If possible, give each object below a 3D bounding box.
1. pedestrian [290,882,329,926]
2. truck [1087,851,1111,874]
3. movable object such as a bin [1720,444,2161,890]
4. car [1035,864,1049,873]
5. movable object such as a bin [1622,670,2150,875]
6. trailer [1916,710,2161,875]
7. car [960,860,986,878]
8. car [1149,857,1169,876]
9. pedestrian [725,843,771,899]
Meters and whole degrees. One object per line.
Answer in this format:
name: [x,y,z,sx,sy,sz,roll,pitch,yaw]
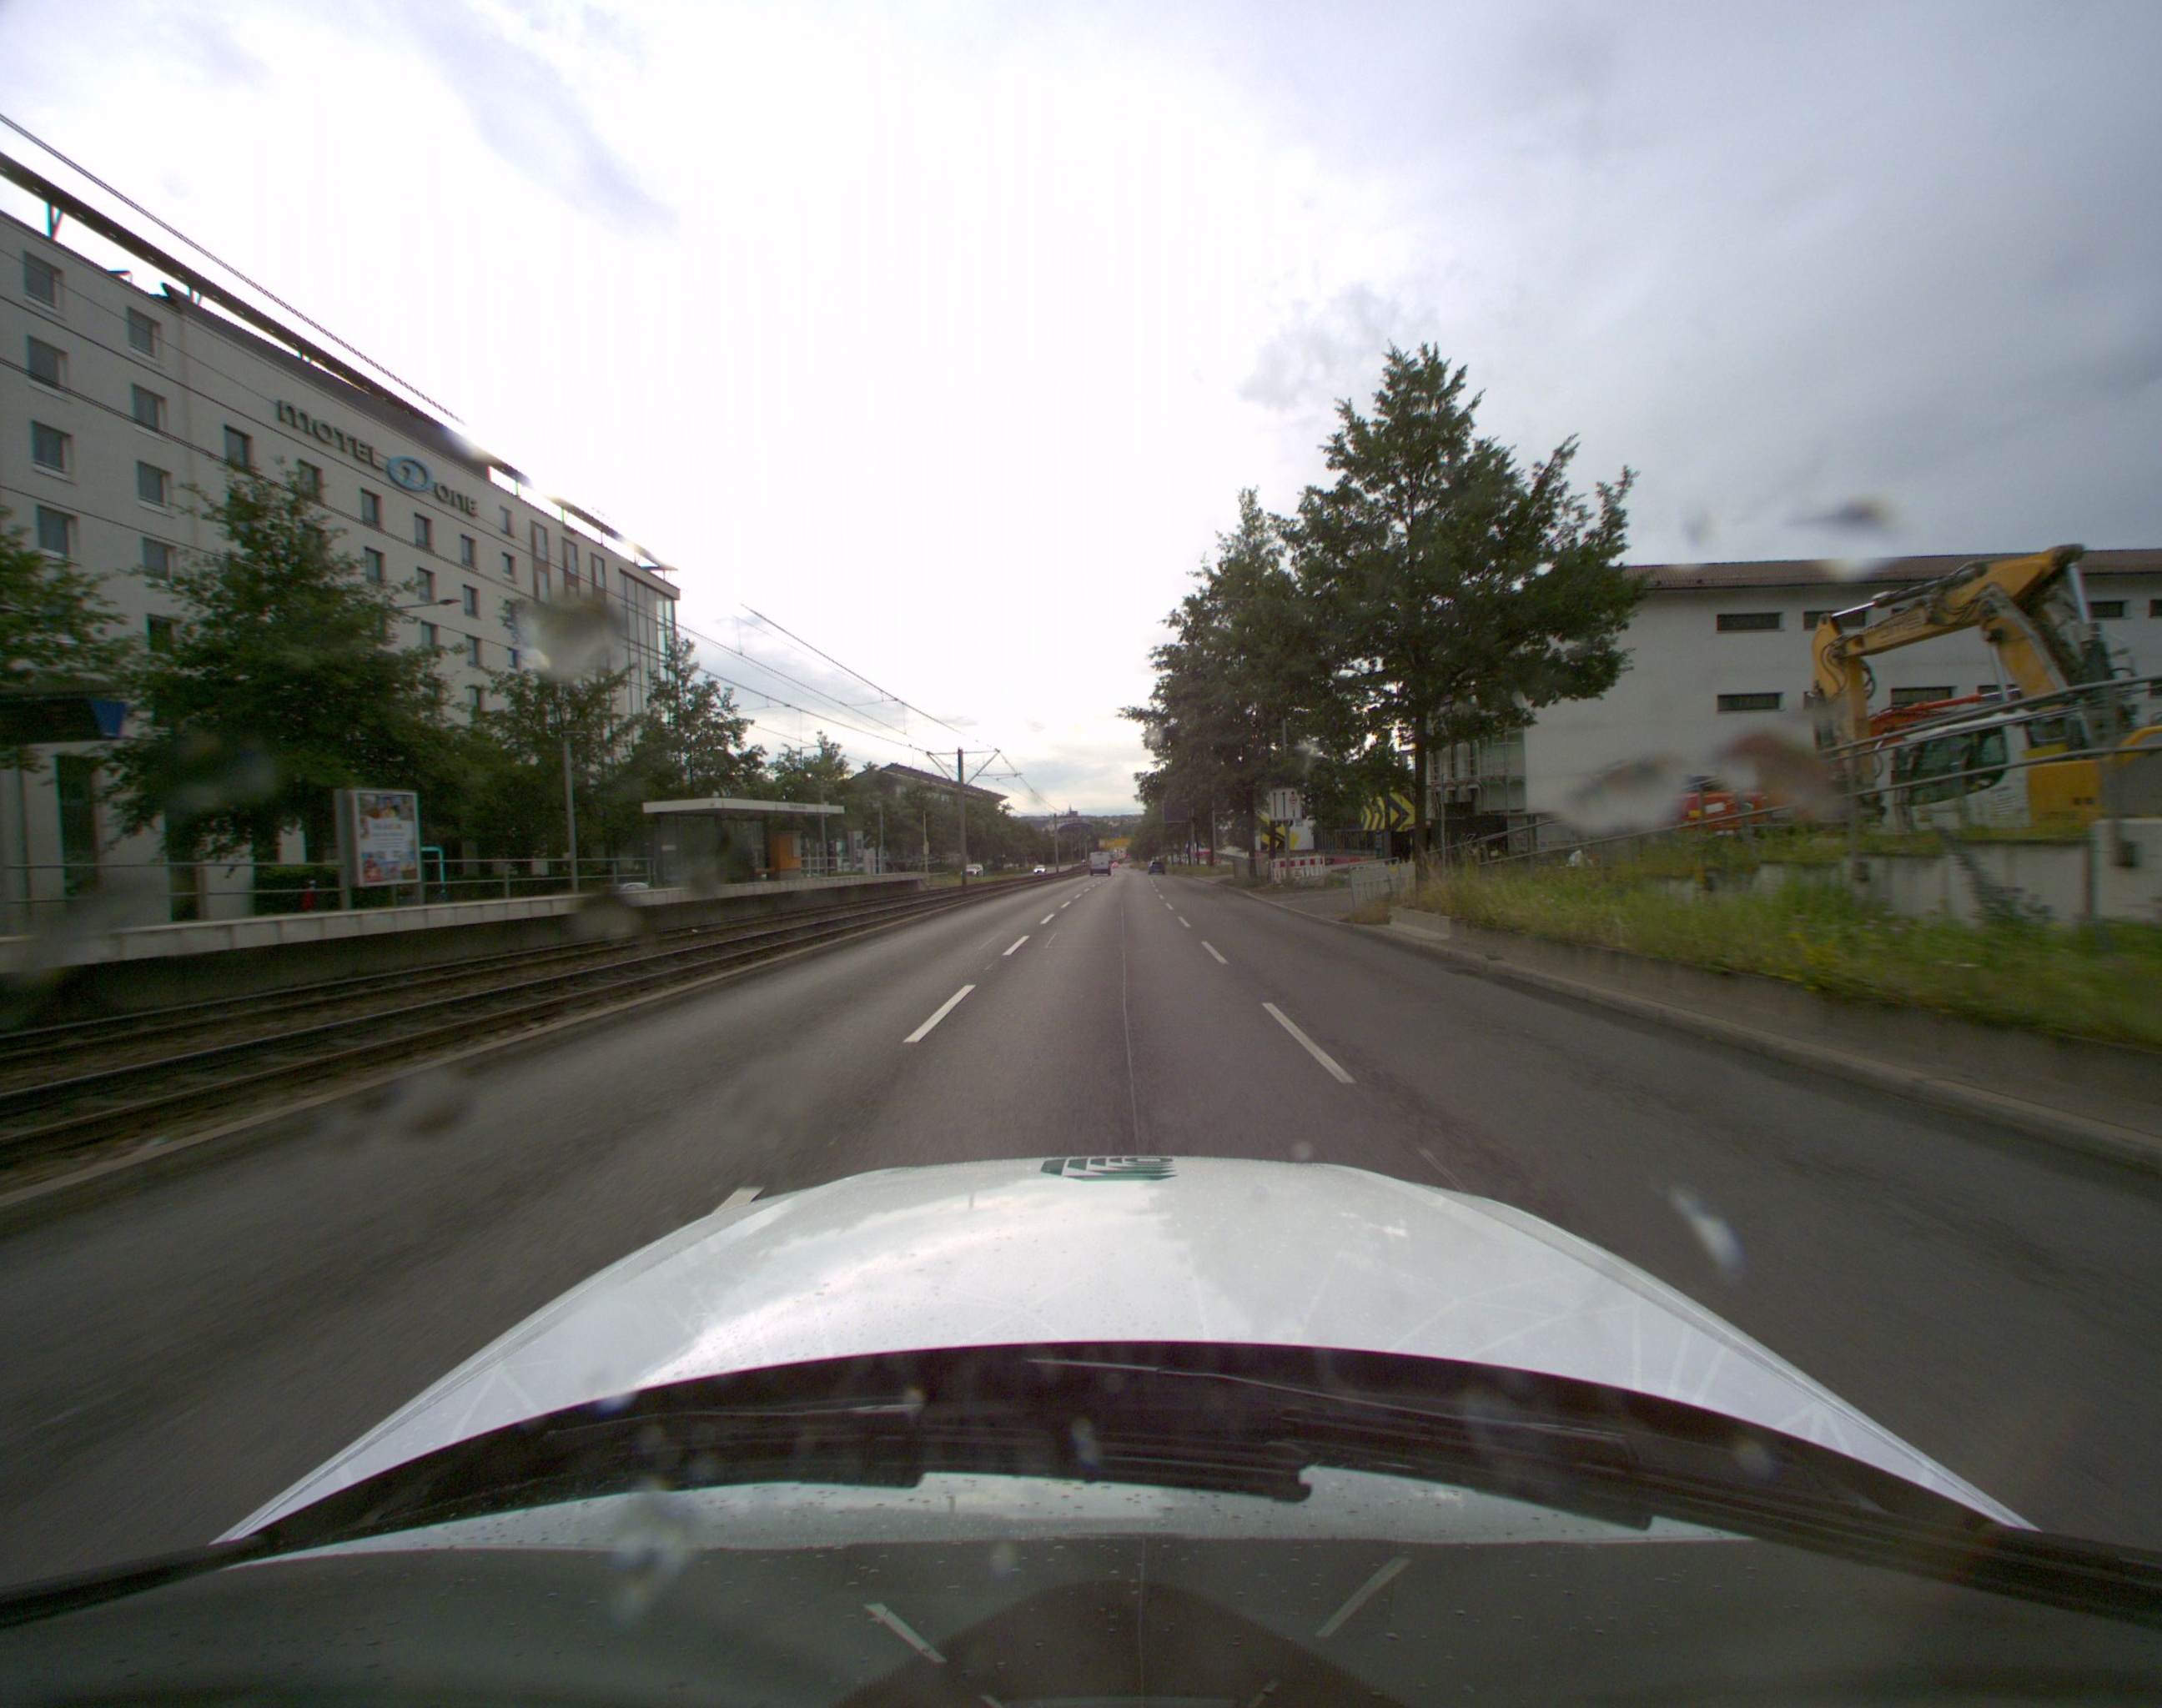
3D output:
pedestrian: [-28.351,1.813,29.949,0.598,1.578,0.835,0,-1,2]
truck: [1.831,0.852,81.922,2.351,2.262,5.307,0,-1,1]
movable object such as a bin: [15.610,-2.343,13.606,3.276,5.685,8.770,0,-1,3]
car: [-6.514,2.444,136.888,1.829,1.444,4.433,-3,-1,4]
movable object such as a bin: [23.897,-2.282,24.802,12.100,5.261,3.789,-2,-1,0]
trailer: [21.292,-1.143,15.239,2.648,3.043,7.444,0,-1,-21]
car: [-12.588,1.734,94.973,1.985,1.847,5.006,-3,0,3]
car: [8.415,1.331,88.225,1.985,2.014,3.938,0,-1,3]
pedestrian: [-12.251,0.613,29.989,1.121,2.014,1.271,0,-1,3]
